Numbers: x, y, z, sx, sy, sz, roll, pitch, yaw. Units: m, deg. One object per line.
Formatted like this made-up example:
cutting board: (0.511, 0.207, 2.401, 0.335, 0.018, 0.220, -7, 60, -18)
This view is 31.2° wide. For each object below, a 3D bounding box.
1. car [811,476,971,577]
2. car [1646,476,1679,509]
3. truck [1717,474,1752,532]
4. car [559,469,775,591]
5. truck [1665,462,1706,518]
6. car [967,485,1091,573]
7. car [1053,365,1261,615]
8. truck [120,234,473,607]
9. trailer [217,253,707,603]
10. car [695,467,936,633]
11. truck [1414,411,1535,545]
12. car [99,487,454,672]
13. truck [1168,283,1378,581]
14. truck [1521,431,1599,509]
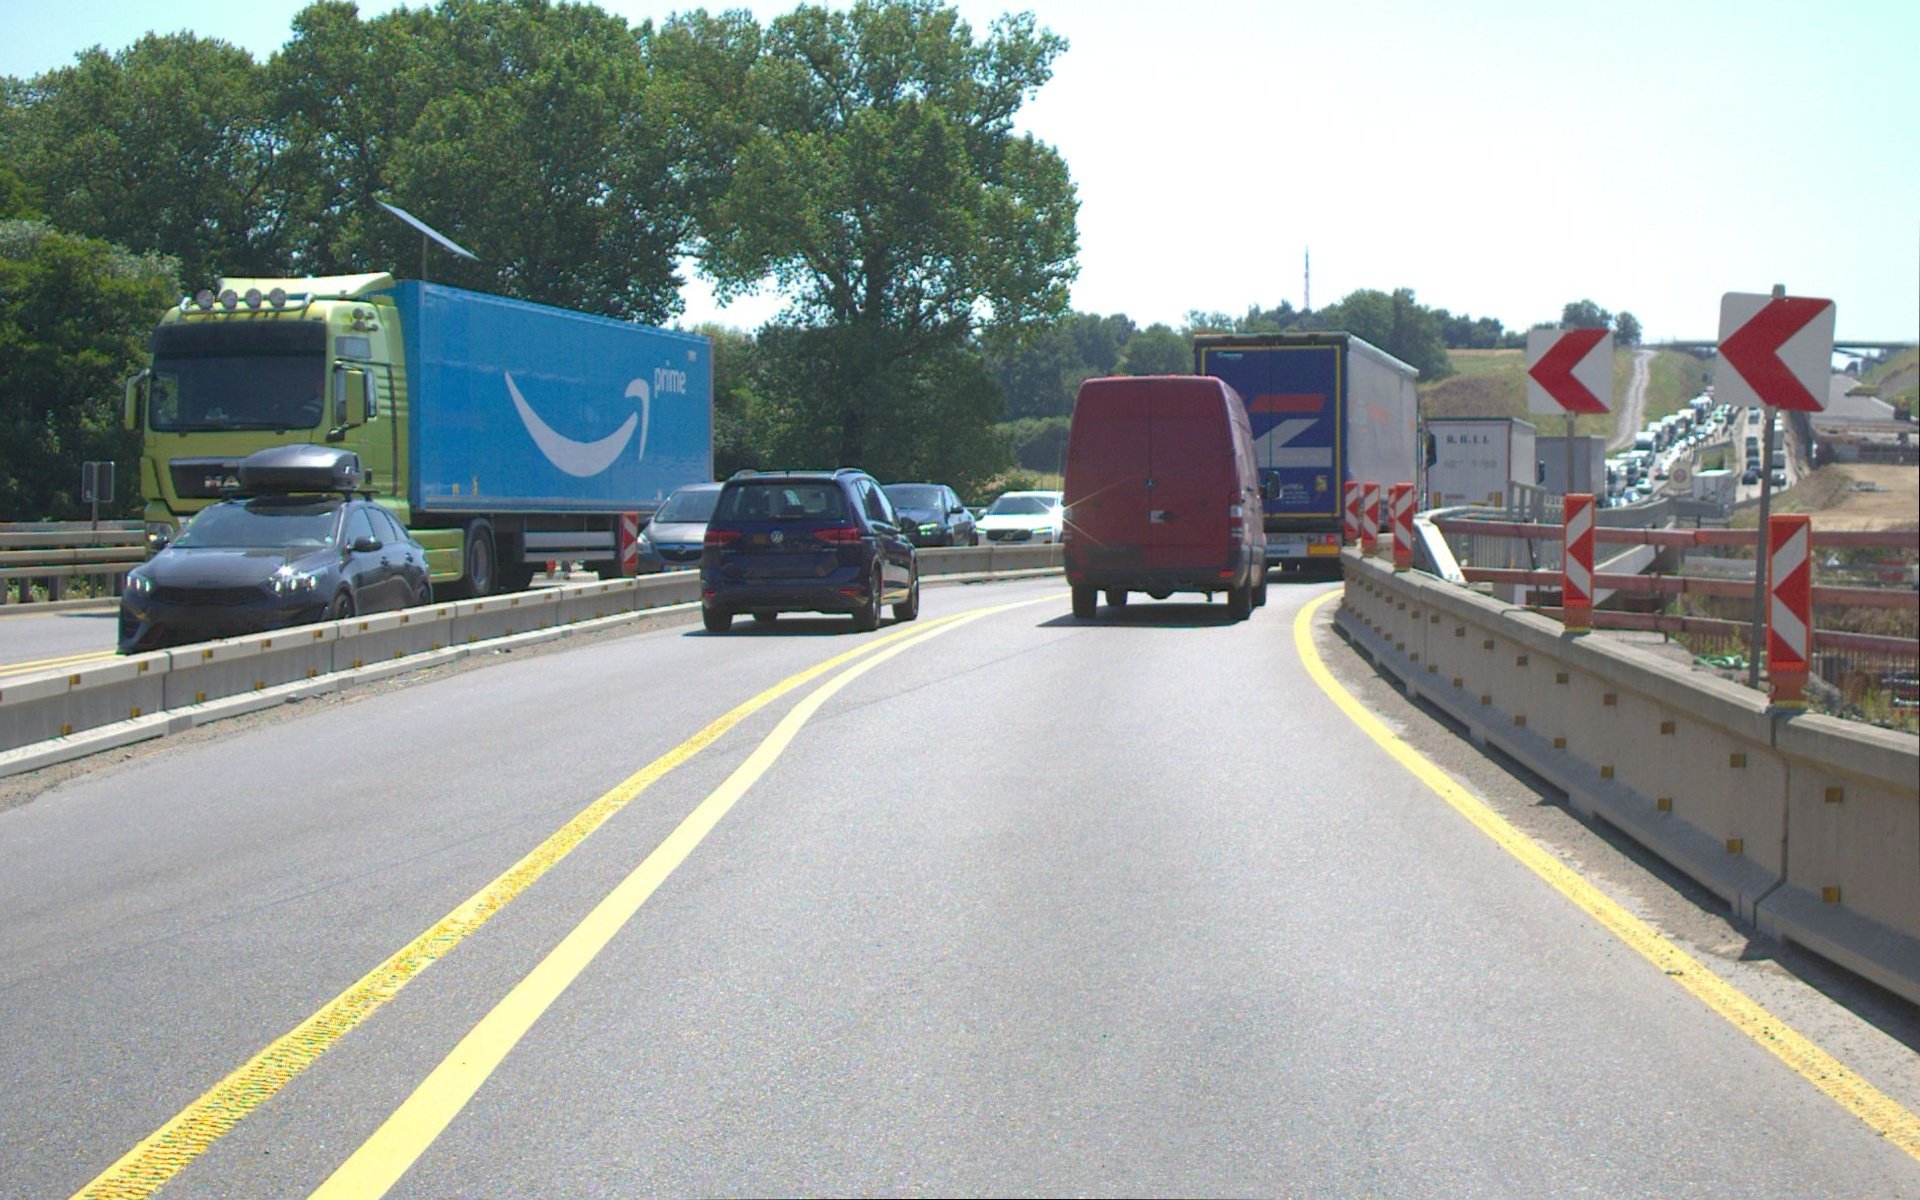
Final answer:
car: (-1.145, -1.292, 59.666, 1.882, 1.641, 4.713, 1, 2, 10)
car: (36.692, -5.604, 179.508, 1.618, 1.694, 3.888, 1, 2, 12)
truck: (54.884, -6.831, 243.694, 2.292, 3.726, 6.478, 0, -2, 12)
car: (-3.976, -0.970, 47.408, 1.821, 1.579, 4.299, 1, 1, 11)
truck: (42.036, -6.384, 199.281, 2.292, 3.185, 6.480, 0, 2, 11)
car: (1.466, -1.500, 71.440, 1.821, 1.641, 4.569, 1, 3, 11)
car: (2.275, -1.179, 39.135, 2.150, 2.602, 5.438, 1, 0, 4)
truck: (-8.028, -2.122, 42.139, 2.626, 4.256, 4.730, 2, 1, 10)
trailer: (-6.675, -2.237, 49.173, 2.649, 4.278, 13.303, 2, 1, 11)
car: (-1.456, -0.563, 36.269, 1.734, 1.629, 4.388, 1, 2, 8)
truck: (15.942, -3.742, 106.250, 3.184, 3.976, 6.738, 1, 1, 13)
car: (-5.778, -0.236, 29.646, 1.820, 1.430, 4.583, 1, 2, 4)
truck: (5.589, -2.867, 60.335, 2.946, 4.928, 6.738, 1, 1, 11)
truck: (27.807, -5.983, 159.148, 3.185, 2.967, 8.894, 0, -2, 12)
